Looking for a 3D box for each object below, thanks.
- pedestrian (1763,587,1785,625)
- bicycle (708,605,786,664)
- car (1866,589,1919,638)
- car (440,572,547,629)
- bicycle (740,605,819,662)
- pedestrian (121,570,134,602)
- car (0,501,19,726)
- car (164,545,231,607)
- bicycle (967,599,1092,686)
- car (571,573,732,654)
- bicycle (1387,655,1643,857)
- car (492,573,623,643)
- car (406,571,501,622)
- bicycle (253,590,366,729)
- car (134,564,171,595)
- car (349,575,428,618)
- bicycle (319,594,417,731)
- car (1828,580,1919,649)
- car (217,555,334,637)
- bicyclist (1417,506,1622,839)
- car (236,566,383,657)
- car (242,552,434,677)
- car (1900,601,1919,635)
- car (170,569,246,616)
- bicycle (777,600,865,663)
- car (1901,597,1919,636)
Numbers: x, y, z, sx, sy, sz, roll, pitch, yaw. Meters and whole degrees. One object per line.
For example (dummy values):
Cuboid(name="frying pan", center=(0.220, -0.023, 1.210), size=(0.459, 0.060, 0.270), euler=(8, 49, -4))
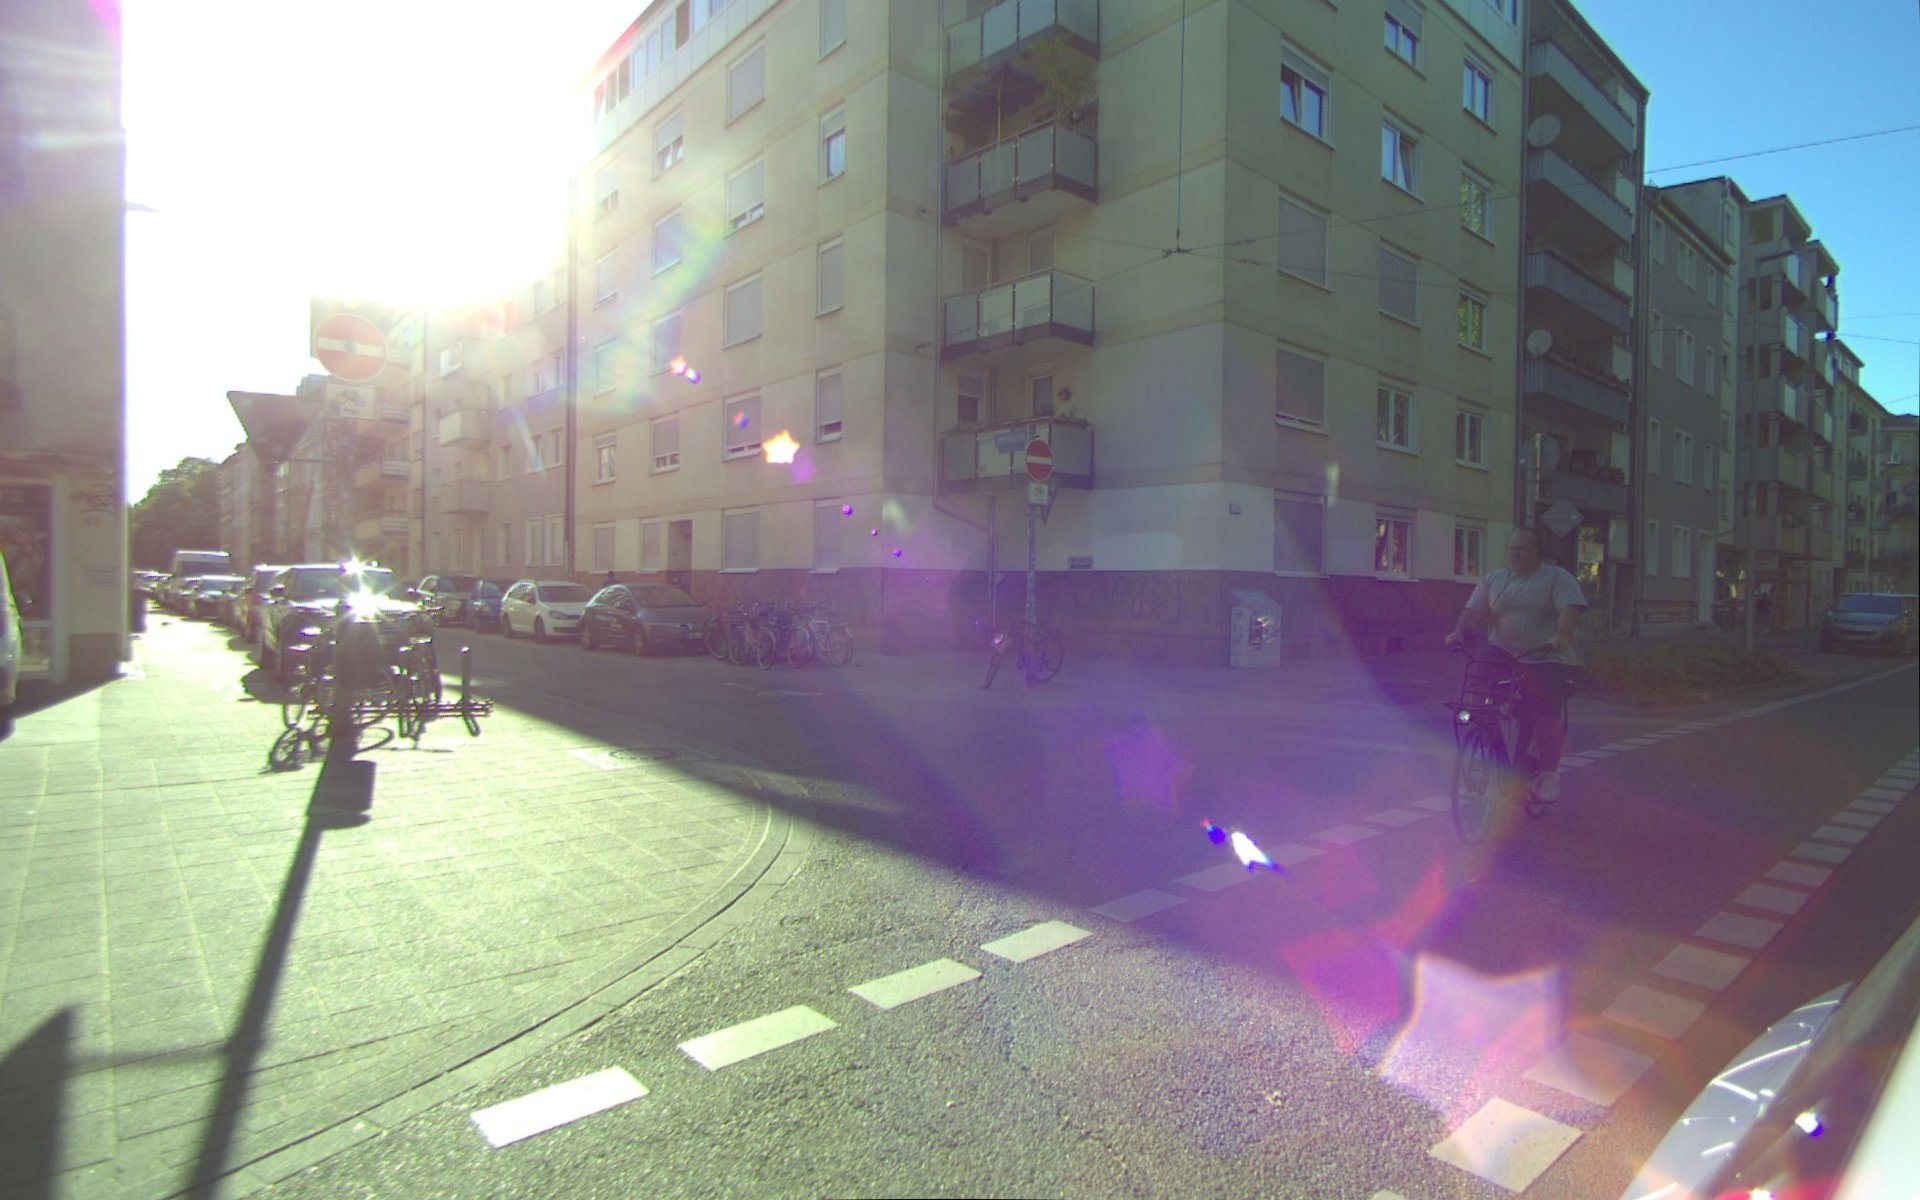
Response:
Cuboid(name="pedestrian", center=(32.694, 0.242, 40.664), size=(0.589, 1.521, 0.590), euler=(0, 0, -41))
Cuboid(name="bicycle", center=(-3.730, 0.563, 17.588), size=(0.490, 0.942, 2.110), euler=(0, 0, -37))
Cuboid(name="car", center=(34.499, 0.450, 36.690), size=(3.930, 1.705, 1.997), euler=(-1, 0, -41))
Cuboid(name="car", center=(-13.503, -0.028, 29.183), size=(1.696, 1.527, 3.992), euler=(0, 1, -42))
Cuboid(name="bicycle", center=(-3.231, 0.569, 17.965), size=(0.490, 0.942, 2.110), euler=(0, 0, -37))
Cuboid(name="pedestrian", center=(-47.786, -0.815, 58.103), size=(0.582, 1.849, 0.513), euler=(0, 0, -41))
Cuboid(name="car", center=(-9.729, 0.113, 8.907), size=(3.983, 1.820, 1.759), euler=(0, 0, 42))
Cuboid(name="car", center=(-32.630, -1.013, 43.261), size=(1.927, 2.546, 3.992), euler=(0, 1, -43))
Cuboid(name="bicycle", center=(1.036, 0.580, 14.687), size=(1.961, 1.166, 0.615), euler=(-1, 1, -41))
Cuboid(name="car", center=(-6.531, 0.224, 21.180), size=(1.696, 1.527, 3.992), euler=(0, 1, -42))
Cuboid(name="bicycle", center=(3.492, 0.878, 6.290), size=(1.905, 0.949, 0.790), euler=(-1, 0, -41))
Cuboid(name="car", center=(-10.095, 0.134, 25.237), size=(1.696, 1.526, 4.110), euler=(0, 3, -42))
Cuboid(name="car", center=(-16.253, -0.131, 32.409), size=(1.696, 1.527, 3.992), euler=(0, 1, -42))
Cuboid(name="bicycle", center=(-6.321, 0.513, 9.922), size=(0.471, 1.222, 2.078), euler=(0, 0, -20))
Cuboid(name="car", center=(-57.969, -1.459, 72.622), size=(1.926, 2.180, 3.994), euler=(0, 1, -41))
Cuboid(name="car", center=(-21.275, -0.159, 37.603), size=(1.696, 1.527, 3.992), euler=(0, 1, -42))
Cuboid(name="bicycle", center=(-5.859, 0.552, 10.106), size=(0.471, 1.222, 2.078), euler=(0, 0, -20))
Cuboid(name="car", center=(27.873, 0.386, 30.572), size=(3.930, 1.949, 1.956), euler=(-1, 0, -41))
Cuboid(name="car", center=(-15.972, -0.113, 23.540), size=(1.696, 1.729, 3.992), euler=(0, 1, -42))
Cuboid(name="bicyclist", center=(3.488, 0.401, 6.300), size=(1.080, 1.854, 0.768), euler=(0, -1, -41))
Cuboid(name="car", center=(-12.277, 0.160, 18.996), size=(1.696, 1.527, 3.992), euler=(0, 1, -42))
Cuboid(name="car", center=(-9.289, 0.146, 14.975), size=(1.696, 1.601, 3.992), euler=(-1, 1, -42))
Cuboid(name="car", center=(43.922, 0.796, 44.249), size=(1.966, 1.485, 3.992), euler=(-1, 1, -42))
Cuboid(name="car", center=(-25.783, -0.277, 34.665), size=(1.696, 1.527, 3.992), euler=(0, 1, -42))
Cuboid(name="bicycle", center=(-2.519, 0.534, 18.137), size=(0.596, 1.004, 2.111), euler=(0, 2, -37))
Cuboid(name="car", center=(39.506, 0.654, 40.818), size=(3.930, 1.527, 1.866), euler=(-1, 0, -41))
